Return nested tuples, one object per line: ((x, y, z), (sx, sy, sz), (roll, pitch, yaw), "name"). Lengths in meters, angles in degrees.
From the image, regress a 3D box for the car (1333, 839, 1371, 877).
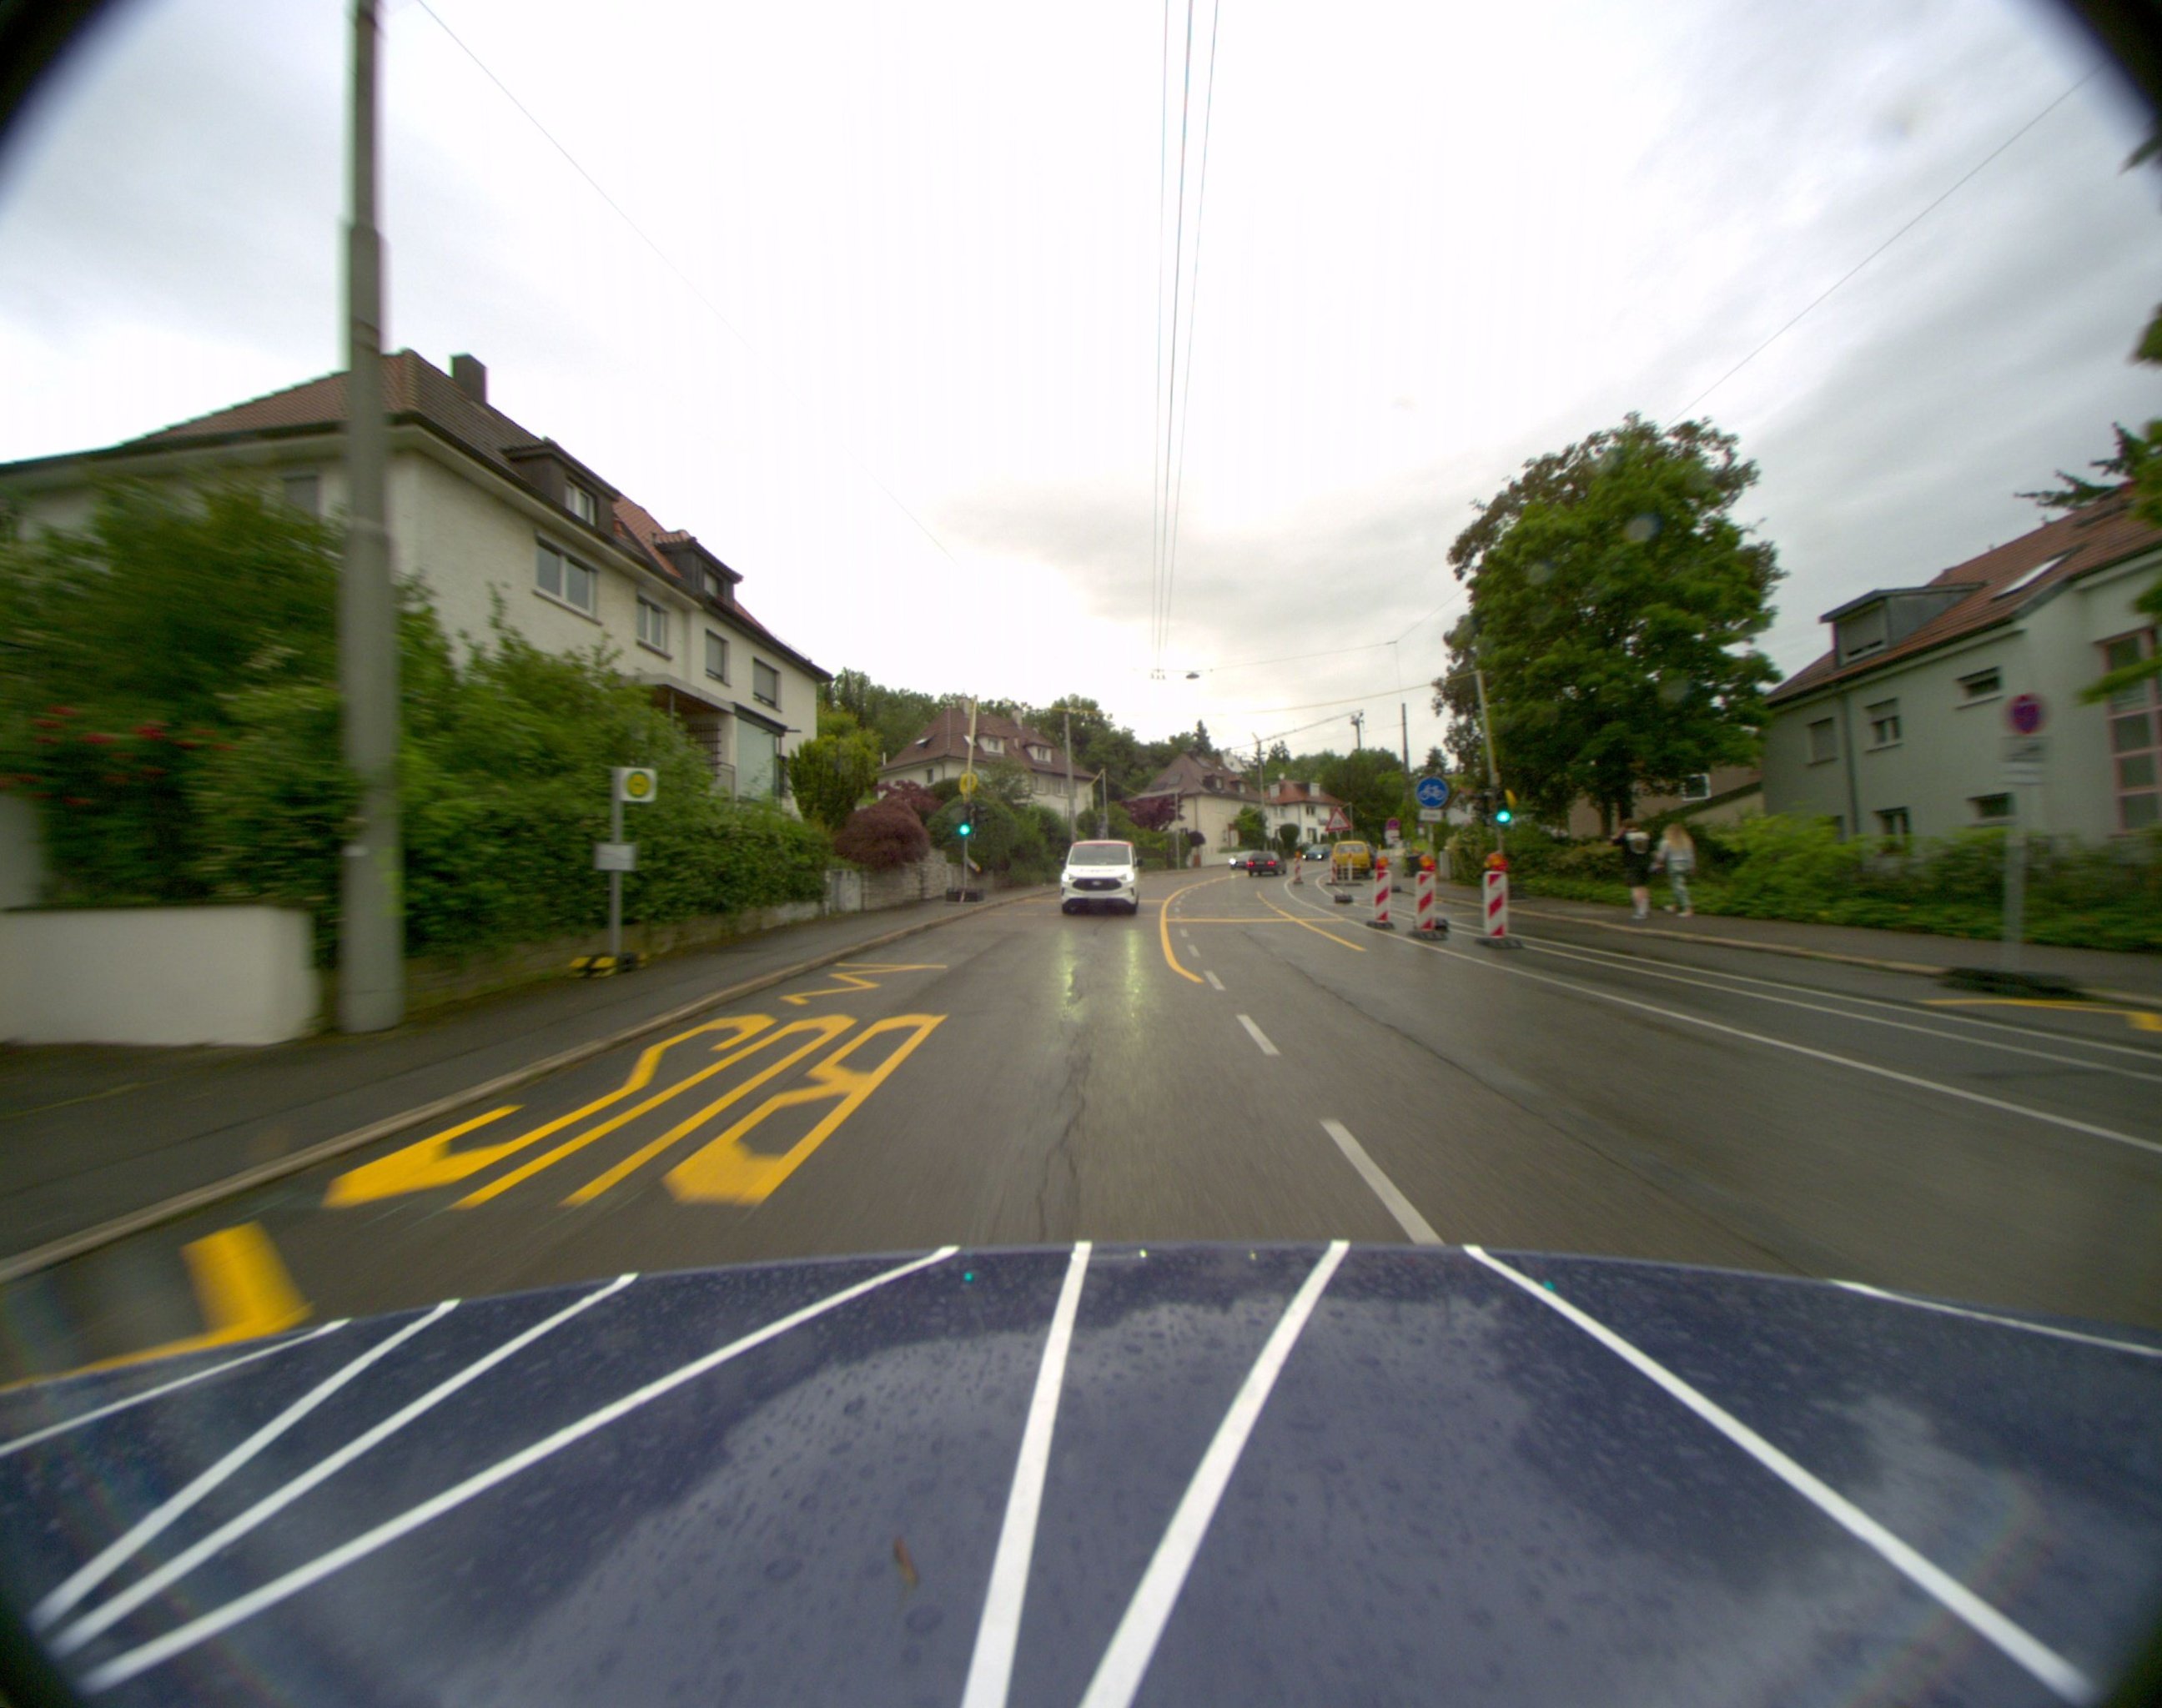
((14.594, 0.161, 40.845), (1.805, 1.917, 4.583), (-1, 1, 21), "car")

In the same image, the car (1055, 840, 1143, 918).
((0.622, 0.611, 21.292), (2.040, 1.928, 4.517), (0, 1, 7), "car")

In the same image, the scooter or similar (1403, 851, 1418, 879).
((15.965, 0.502, 36.787), (0.399, 1.253, 1.319), (-5, 0, 31), "scooter or similar")

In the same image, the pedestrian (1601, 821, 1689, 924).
((10.471, 0.332, 14.160), (0.709, 1.806, 1.147), (-3, 0, 2), "pedestrian")

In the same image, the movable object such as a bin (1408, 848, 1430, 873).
((15.875, 0.300, 35.707), (0.859, 1.134, 0.713), (-3, 2, 19), "movable object such as a bin")

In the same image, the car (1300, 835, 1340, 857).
((23.280, -0.771, 74.060), (4.007, 1.929, 2.011), (-5, 2, -44), "car")

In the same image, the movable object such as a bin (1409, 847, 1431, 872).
((16.215, 0.265, 36.383), (0.859, 1.134, 0.713), (-3, 2, 19), "movable object such as a bin")

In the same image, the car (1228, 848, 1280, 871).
((13.216, 0.411, 57.877), (1.985, 1.428, 4.523), (-3, 1, 39), "car")

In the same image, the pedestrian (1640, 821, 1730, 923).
((11.292, 0.329, 14.252), (0.682, 1.806, 1.156), (-3, 0, 2), "pedestrian")

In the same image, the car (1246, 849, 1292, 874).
((11.512, 0.419, 46.311), (1.700, 1.452, 4.691), (-1, 0, 26), "car")

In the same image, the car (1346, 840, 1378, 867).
((18.931, -0.078, 51.077), (1.721, 1.598, 4.469), (-2, 1, 23), "car")
